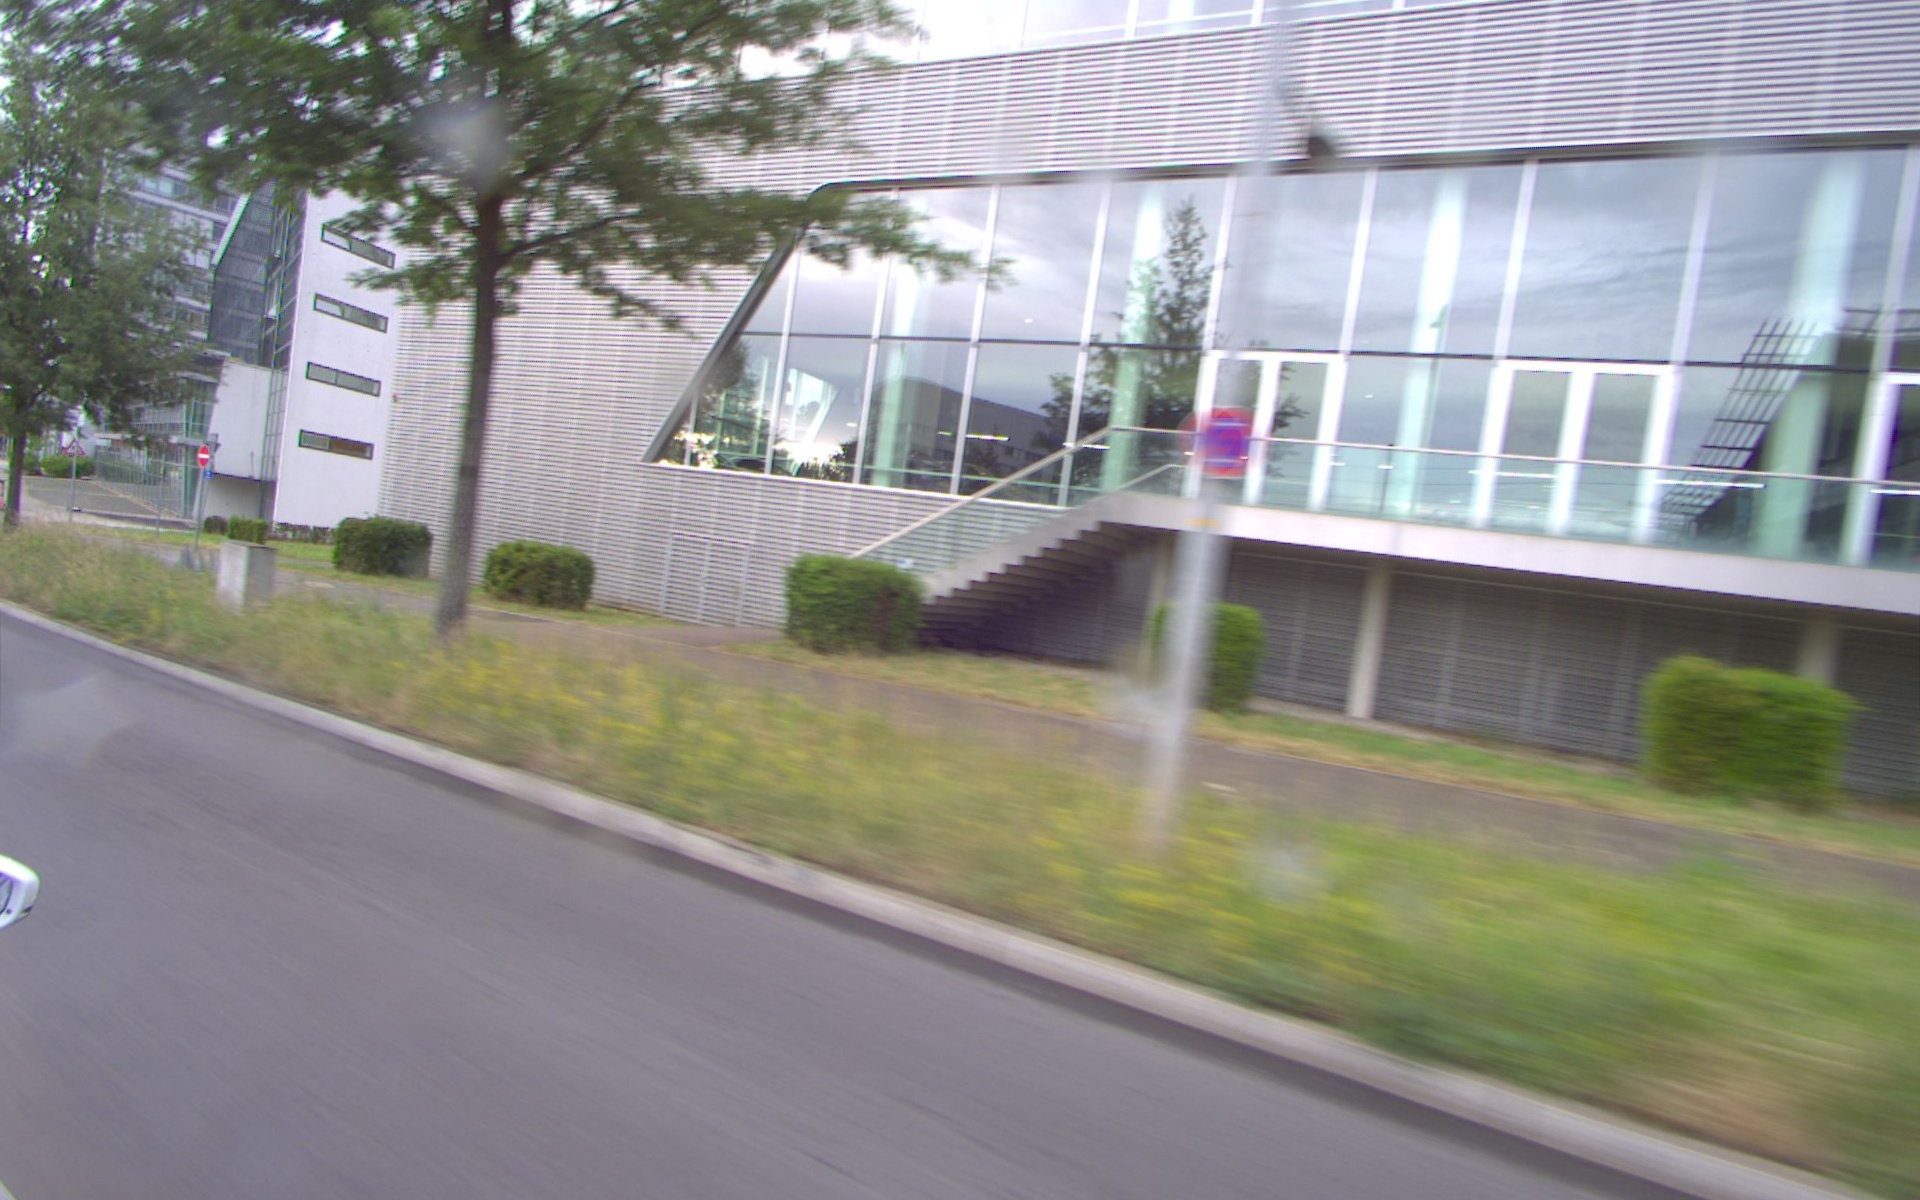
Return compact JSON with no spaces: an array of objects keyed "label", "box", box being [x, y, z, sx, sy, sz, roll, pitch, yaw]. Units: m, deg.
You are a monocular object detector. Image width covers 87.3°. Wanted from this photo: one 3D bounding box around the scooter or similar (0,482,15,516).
[{"label":"scooter or similar","box":[-38.437,-4.063,40.374,1.316,1.280,0.457,7,3,36]}]
